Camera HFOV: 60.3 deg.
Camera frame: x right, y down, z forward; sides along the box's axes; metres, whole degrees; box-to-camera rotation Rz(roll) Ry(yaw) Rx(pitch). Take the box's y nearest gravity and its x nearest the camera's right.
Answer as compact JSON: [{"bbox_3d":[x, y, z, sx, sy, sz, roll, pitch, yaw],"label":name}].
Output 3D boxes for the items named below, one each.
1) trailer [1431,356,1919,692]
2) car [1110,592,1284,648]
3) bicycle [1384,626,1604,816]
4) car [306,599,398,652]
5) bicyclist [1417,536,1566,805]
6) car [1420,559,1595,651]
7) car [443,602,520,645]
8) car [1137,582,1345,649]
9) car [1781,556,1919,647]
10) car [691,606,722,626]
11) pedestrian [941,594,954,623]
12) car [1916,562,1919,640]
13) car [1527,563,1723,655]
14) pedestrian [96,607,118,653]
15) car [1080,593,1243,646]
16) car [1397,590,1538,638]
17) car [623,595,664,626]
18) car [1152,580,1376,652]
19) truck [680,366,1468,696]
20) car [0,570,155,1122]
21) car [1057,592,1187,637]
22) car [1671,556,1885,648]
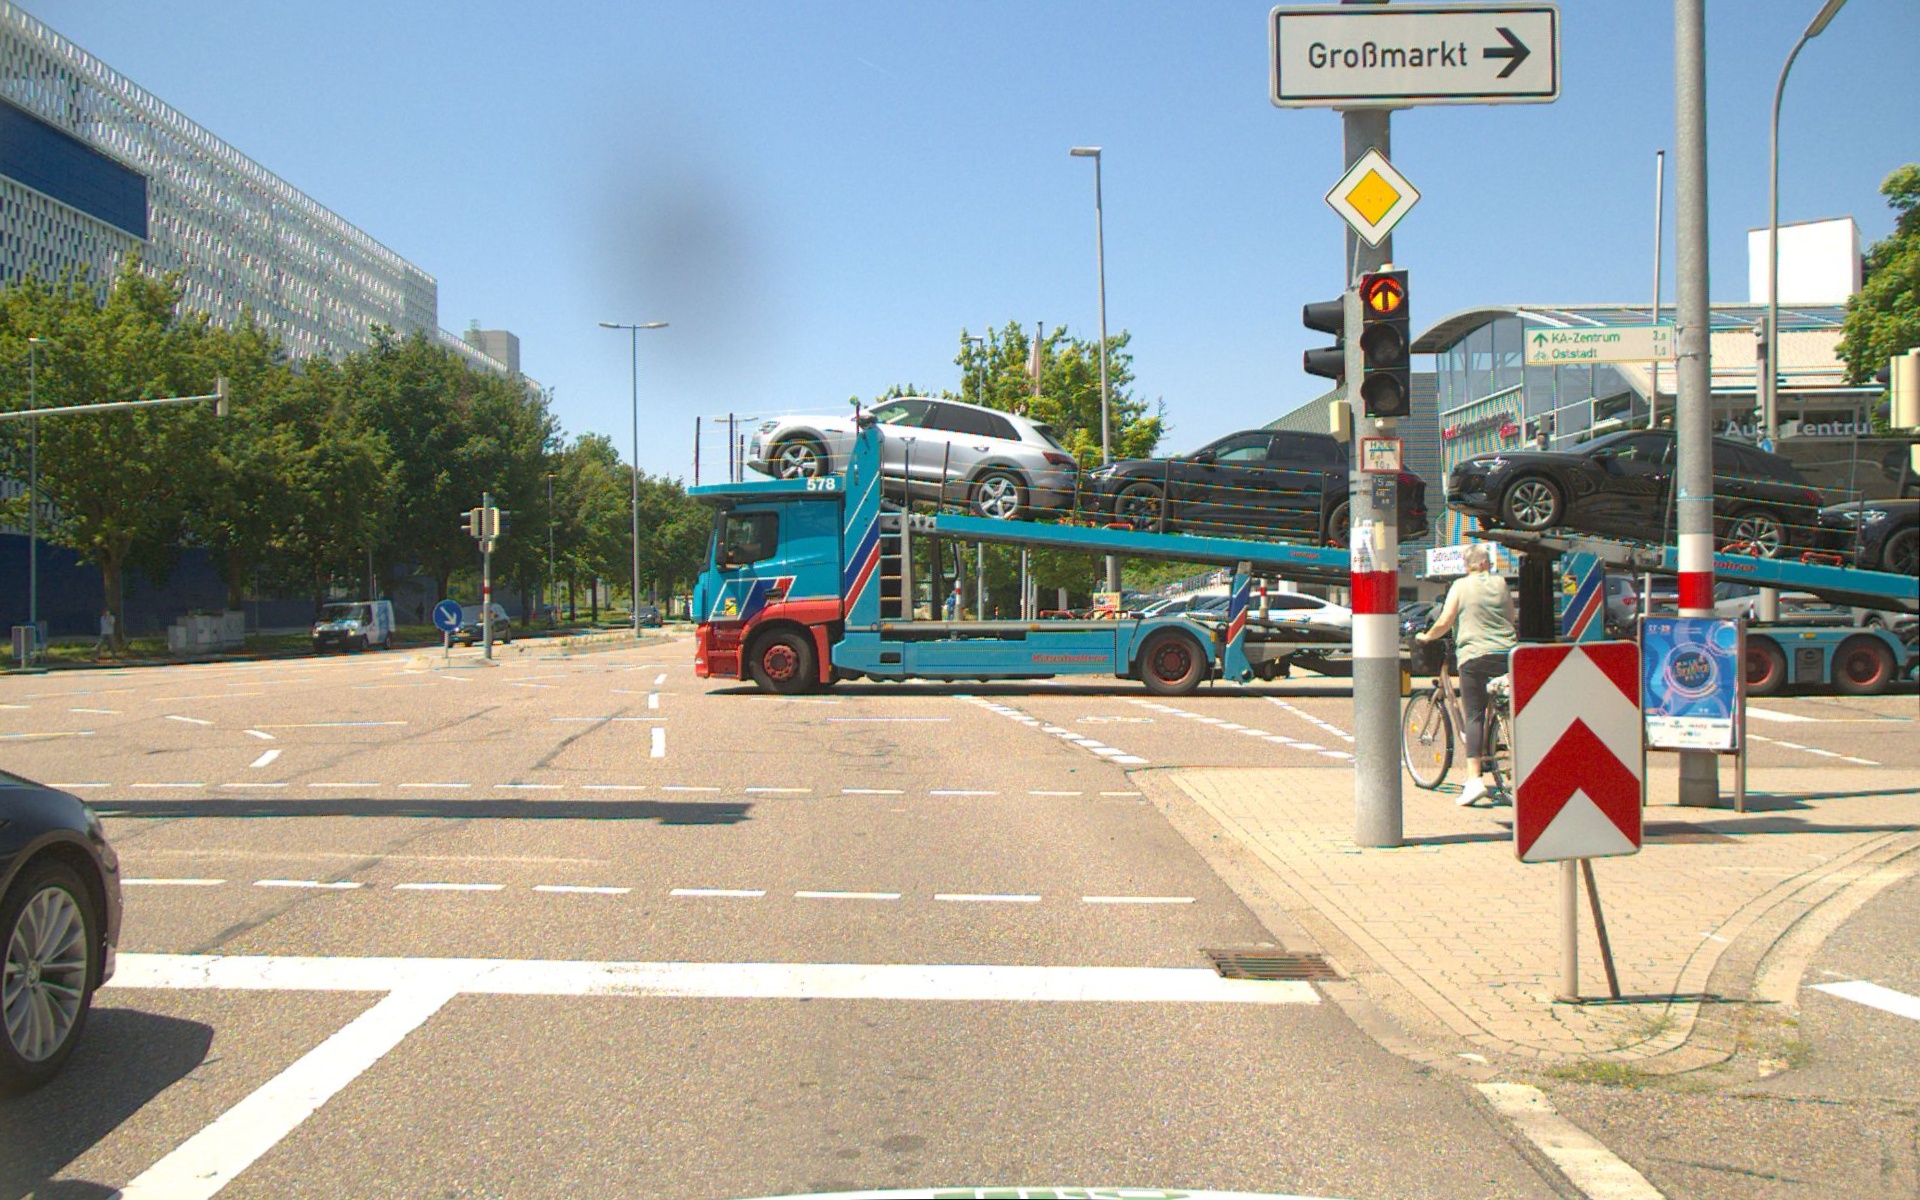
[{"bbox_3d":[11.457,-0.977,22.307,9.407,4.152,3.097,-1,0,7],"label":"trailer"},{"bbox_3d":[6.765,0.565,47.575,4.647,1.482,1.999,-1,1,-3],"label":"car"},{"bbox_3d":[3.641,0.781,11.464,0.771,1.147,1.919,0,1,-5],"label":"bicycle"},{"bbox_3d":[-24.581,1.014,67.043,1.953,2.043,4.763,-1,0,-1],"label":"car"},{"bbox_3d":[3.625,0.464,11.329,0.719,1.779,0.753,0,0,-6],"label":"bicyclist"},{"bbox_3d":[10.726,0.071,32.718,1.953,1.668,4.267,-1,1,-2],"label":"car"},{"bbox_3d":[-19.118,0.930,66.213,1.837,1.626,4.495,-1,0,-2],"label":"car"},{"bbox_3d":[6.685,0.372,39.725,4.644,1.482,2.000,-1,-1,0],"label":"car"},{"bbox_3d":[18.476,-0.021,33.011,1.847,1.668,4.523,-1,1,-2],"label":"car"},{"bbox_3d":[-21.618,1.353,141.107,1.887,1.694,4.089,-1,0,1],"label":"car"},{"bbox_3d":[-0.697,0.463,89.900,0.654,1.537,0.736,-1,0,-2],"label":"pedestrian"},{"bbox_3d":[21.325,0.026,33.024,1.790,1.668,4.473,-1,1,-2],"label":"car"},{"bbox_3d":[13.095,0.139,32.912,1.953,1.668,4.556,-1,1,-2],"label":"car"},{"bbox_3d":[-28.254,0.982,54.804,0.452,1.508,0.484,-1,-1,2],"label":"pedestrian"},{"bbox_3d":[6.079,0.589,50.248,4.647,1.482,1.999,-1,1,-3],"label":"car"},{"bbox_3d":[16.292,0.438,53.175,4.008,1.486,1.718,-1,1,-1],"label":"car"},{"bbox_3d":[-22.198,0.753,116.073,1.952,2.049,4.001,-1,-2,2],"label":"car"},{"bbox_3d":[6.740,0.342,36.992,4.644,1.482,2.000,-1,1,0],"label":"car"},{"bbox_3d":[1.562,-0.870,23.508,10.392,4.154,3.103,-1,0,7],"label":"truck"},{"bbox_3d":[-3.420,0.673,3.039,1.764,1.491,4.621,0,0,-2],"label":"car"},{"bbox_3d":[6.093,0.537,62.567,4.647,1.482,1.999,-2,1,-3],"label":"car"},{"bbox_3d":[16.170,0.011,32.974,1.953,1.668,4.440,-1,1,-2],"label":"car"}]
